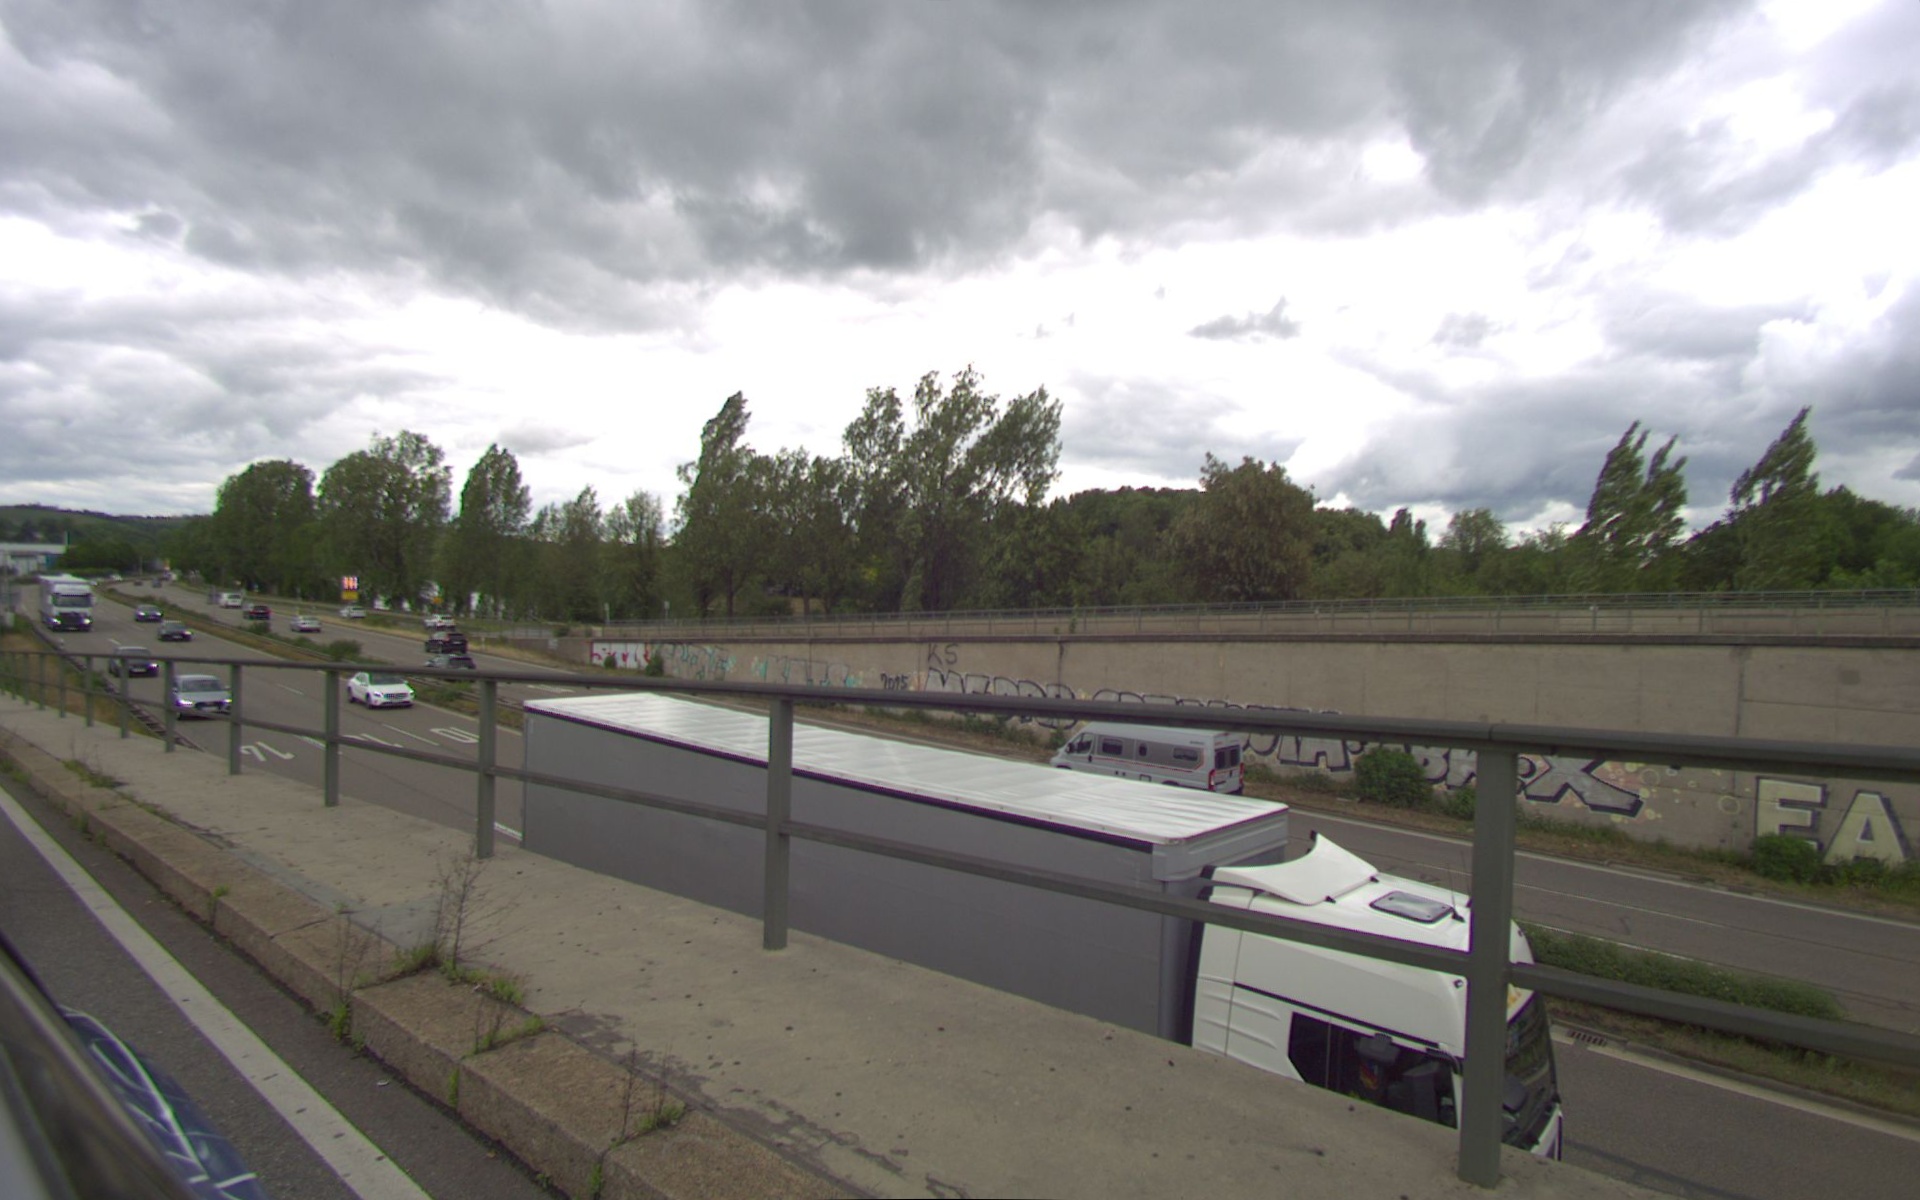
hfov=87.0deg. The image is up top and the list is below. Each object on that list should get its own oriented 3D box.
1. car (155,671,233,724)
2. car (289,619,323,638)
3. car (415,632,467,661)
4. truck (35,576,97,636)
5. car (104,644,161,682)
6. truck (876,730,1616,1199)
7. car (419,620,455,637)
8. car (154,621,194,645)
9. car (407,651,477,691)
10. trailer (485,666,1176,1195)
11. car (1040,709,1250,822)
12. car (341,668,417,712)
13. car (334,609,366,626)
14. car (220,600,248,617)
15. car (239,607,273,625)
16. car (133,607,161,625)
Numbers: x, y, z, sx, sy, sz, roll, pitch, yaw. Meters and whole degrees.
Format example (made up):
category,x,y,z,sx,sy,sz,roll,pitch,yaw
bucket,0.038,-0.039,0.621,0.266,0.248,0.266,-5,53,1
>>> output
category,x,y,z,sx,sy,sz,roll,pitch,yaw
car,-31.191,3.928,41.173,4.166,1.619,1.834,2,1,43
car,-58.970,2.574,91.247,4.089,1.539,1.709,2,0,45
car,-38.199,3.387,74.464,4.408,1.855,1.911,2,1,41
truck,-74.475,0.399,84.231,11.131,4.559,3.136,3,1,45
car,-44.227,3.338,54.060,4.166,1.619,1.834,2,1,43
truck,2.477,3.961,10.395,6.699,4.283,2.721,2,0,43
car,-51.237,2.819,99.039,4.346,1.588,1.812,-2,-1,43
car,-59.742,2.500,76.922,4.168,1.619,1.833,2,-1,45
car,-29.027,3.942,56.657,4.422,1.855,1.973,2,0,41
trailer,-3.187,3.687,15.689,13.152,4.283,2.721,2,0,43
car,5.748,5.088,32.107,6.322,2.553,2.063,2,0,39
car,-26.573,4.071,46.236,4.166,1.619,1.834,2,-1,43
car,-71.129,2.049,117.959,4.211,1.884,1.973,-2,-1,41
car,-96.361,1.153,134.269,5.177,2.082,1.972,2,1,42
car,-75.467,1.732,108.477,4.550,1.751,1.896,2,0,40
car,-78.268,1.521,97.423,1.832,1.619,4.171,1,1,-42
